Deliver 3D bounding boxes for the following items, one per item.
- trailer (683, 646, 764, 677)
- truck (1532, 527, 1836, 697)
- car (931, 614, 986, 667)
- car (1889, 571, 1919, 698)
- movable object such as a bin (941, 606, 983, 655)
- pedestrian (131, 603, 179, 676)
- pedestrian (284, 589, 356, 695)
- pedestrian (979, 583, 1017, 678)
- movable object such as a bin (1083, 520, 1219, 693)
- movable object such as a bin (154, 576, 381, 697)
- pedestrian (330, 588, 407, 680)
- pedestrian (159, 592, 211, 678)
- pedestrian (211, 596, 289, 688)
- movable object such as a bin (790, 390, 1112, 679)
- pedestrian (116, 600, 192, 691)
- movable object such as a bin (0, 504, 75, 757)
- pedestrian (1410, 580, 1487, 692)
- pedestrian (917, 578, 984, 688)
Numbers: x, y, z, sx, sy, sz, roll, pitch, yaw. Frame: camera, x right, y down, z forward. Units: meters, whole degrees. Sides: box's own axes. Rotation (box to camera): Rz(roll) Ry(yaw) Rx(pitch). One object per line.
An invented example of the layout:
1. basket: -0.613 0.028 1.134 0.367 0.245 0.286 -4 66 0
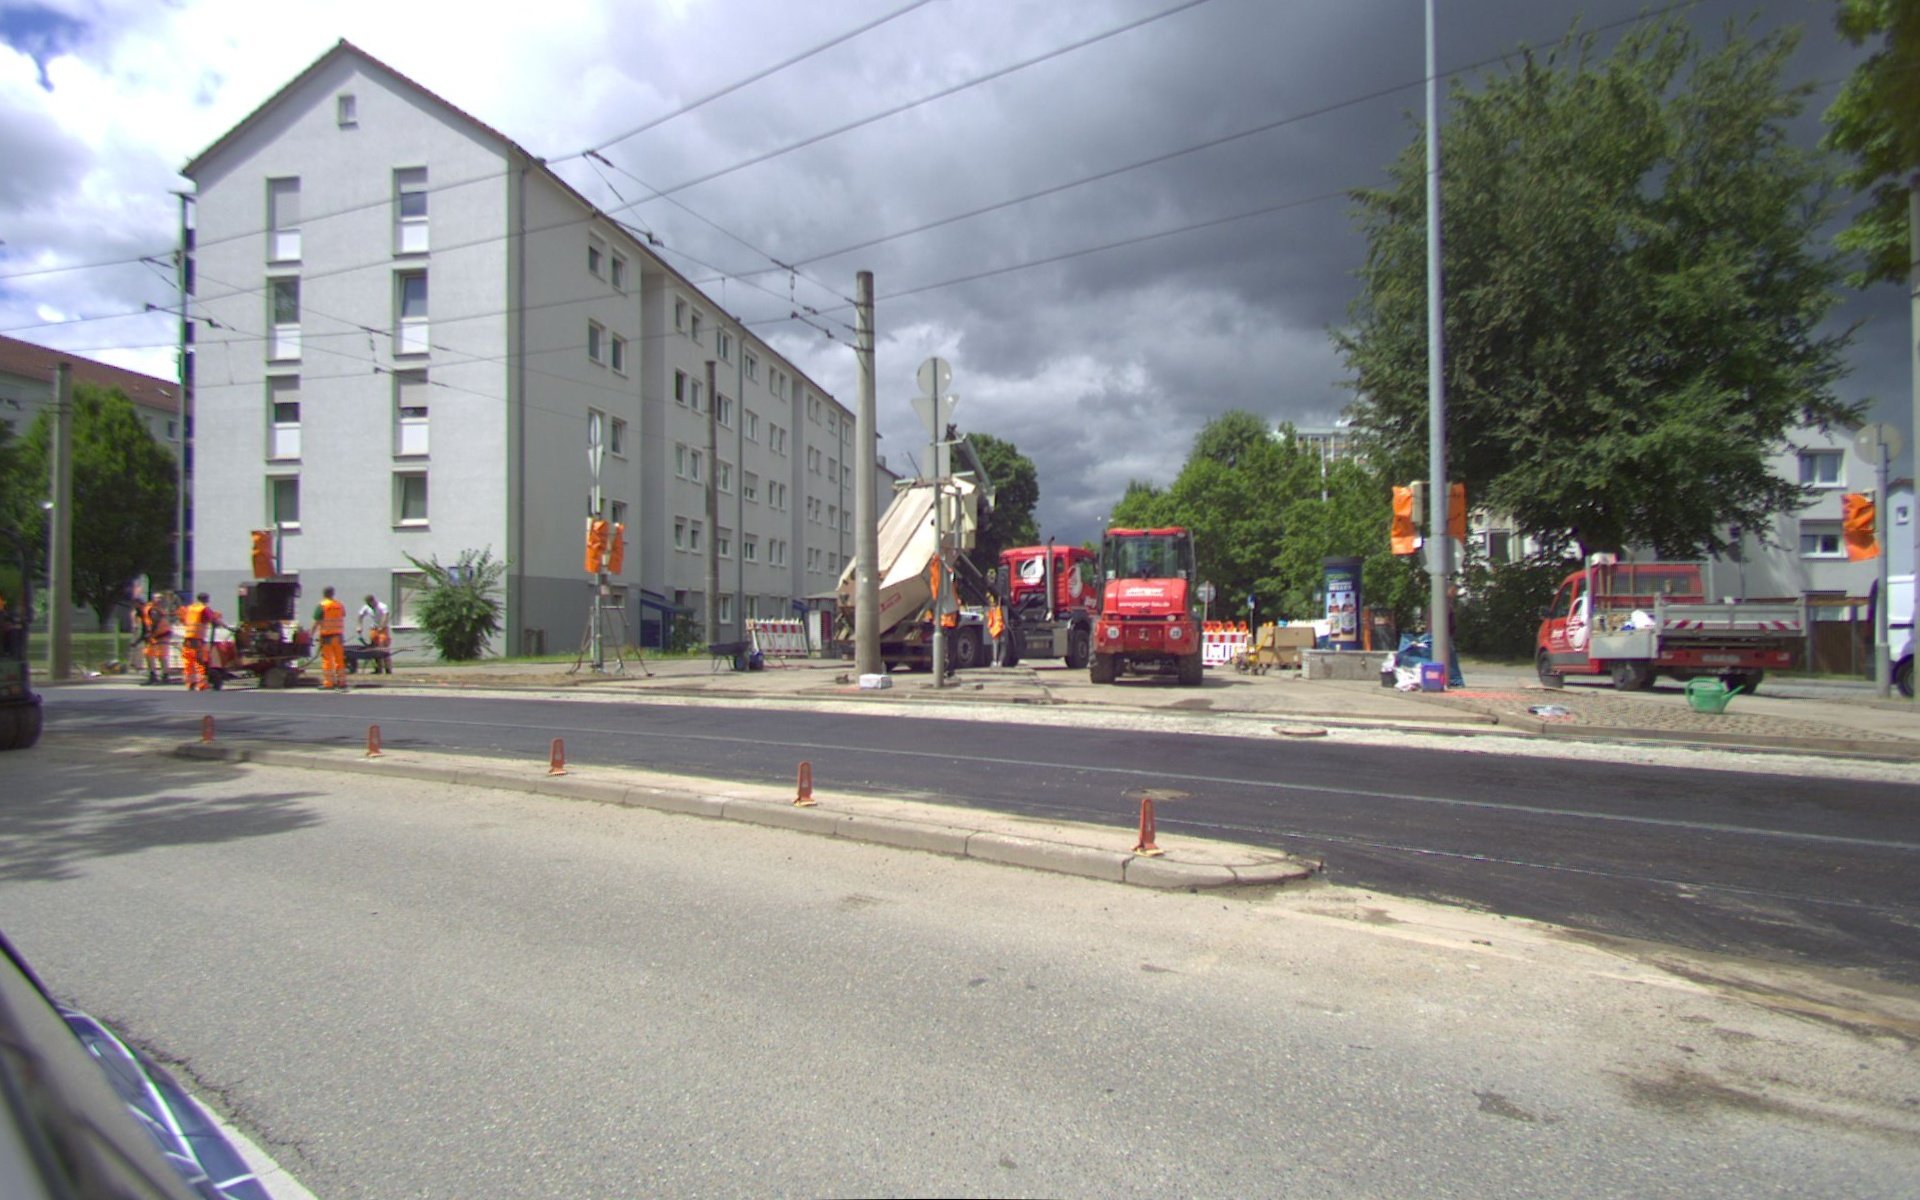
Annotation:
1. trailer: -4.969 1.286 21.248 1.592 0.621 0.788 -1 -3 32
2. truck: 12.700 0.312 18.397 2.395 2.588 5.560 -1 -3 12
3. car: -0.063 1.532 38.746 1.972 1.896 4.343 0 -2 0
4. car: 15.551 0.476 13.022 1.969 1.901 5.258 2 -2 -7
5. movable object such as a bin: 0.079 1.561 51.384 1.971 2.428 4.001 0 -2 -2
6. pedestrian: -19.036 0.918 23.947 0.866 1.696 0.668 0 -1 -39
7. pedestrian: -11.458 0.755 18.142 0.759 1.853 0.782 -1 -2 6
8. pedestrian: 0.742 0.595 19.794 0.606 1.802 0.580 -2 -2 11
9. movable object such as a bin: 3.625 0.134 18.666 2.095 2.689 5.564 0 -1 13
10. movable object such as a bin: -12.435 0.656 18.266 2.943 2.029 1.989 -1 -2 17
11. pedestrian: -12.187 0.699 20.880 0.864 1.838 1.093 -1 -2 8
12. pedestrian: -17.770 0.790 23.218 0.866 1.922 0.669 0 -1 -32
13. pedestrian: -13.726 0.803 19.578 0.911 1.729 0.854 -2 -1 19
14. movable object such as a bin: 0.228 -1.098 23.759 2.815 5.527 8.926 -2 -3 36
15. pedestrian: -15.598 0.876 19.598 0.910 1.729 0.750 -1 -1 13
16. movable object such as a bin: -11.034 0.332 10.893 2.344 2.613 1.312 -1 -1 19
17. pedestrian: 7.558 0.554 15.703 0.867 1.672 0.924 -2 -2 15
18. pedestrian: -0.161 0.555 17.554 0.964 1.846 0.791 0 -1 19
